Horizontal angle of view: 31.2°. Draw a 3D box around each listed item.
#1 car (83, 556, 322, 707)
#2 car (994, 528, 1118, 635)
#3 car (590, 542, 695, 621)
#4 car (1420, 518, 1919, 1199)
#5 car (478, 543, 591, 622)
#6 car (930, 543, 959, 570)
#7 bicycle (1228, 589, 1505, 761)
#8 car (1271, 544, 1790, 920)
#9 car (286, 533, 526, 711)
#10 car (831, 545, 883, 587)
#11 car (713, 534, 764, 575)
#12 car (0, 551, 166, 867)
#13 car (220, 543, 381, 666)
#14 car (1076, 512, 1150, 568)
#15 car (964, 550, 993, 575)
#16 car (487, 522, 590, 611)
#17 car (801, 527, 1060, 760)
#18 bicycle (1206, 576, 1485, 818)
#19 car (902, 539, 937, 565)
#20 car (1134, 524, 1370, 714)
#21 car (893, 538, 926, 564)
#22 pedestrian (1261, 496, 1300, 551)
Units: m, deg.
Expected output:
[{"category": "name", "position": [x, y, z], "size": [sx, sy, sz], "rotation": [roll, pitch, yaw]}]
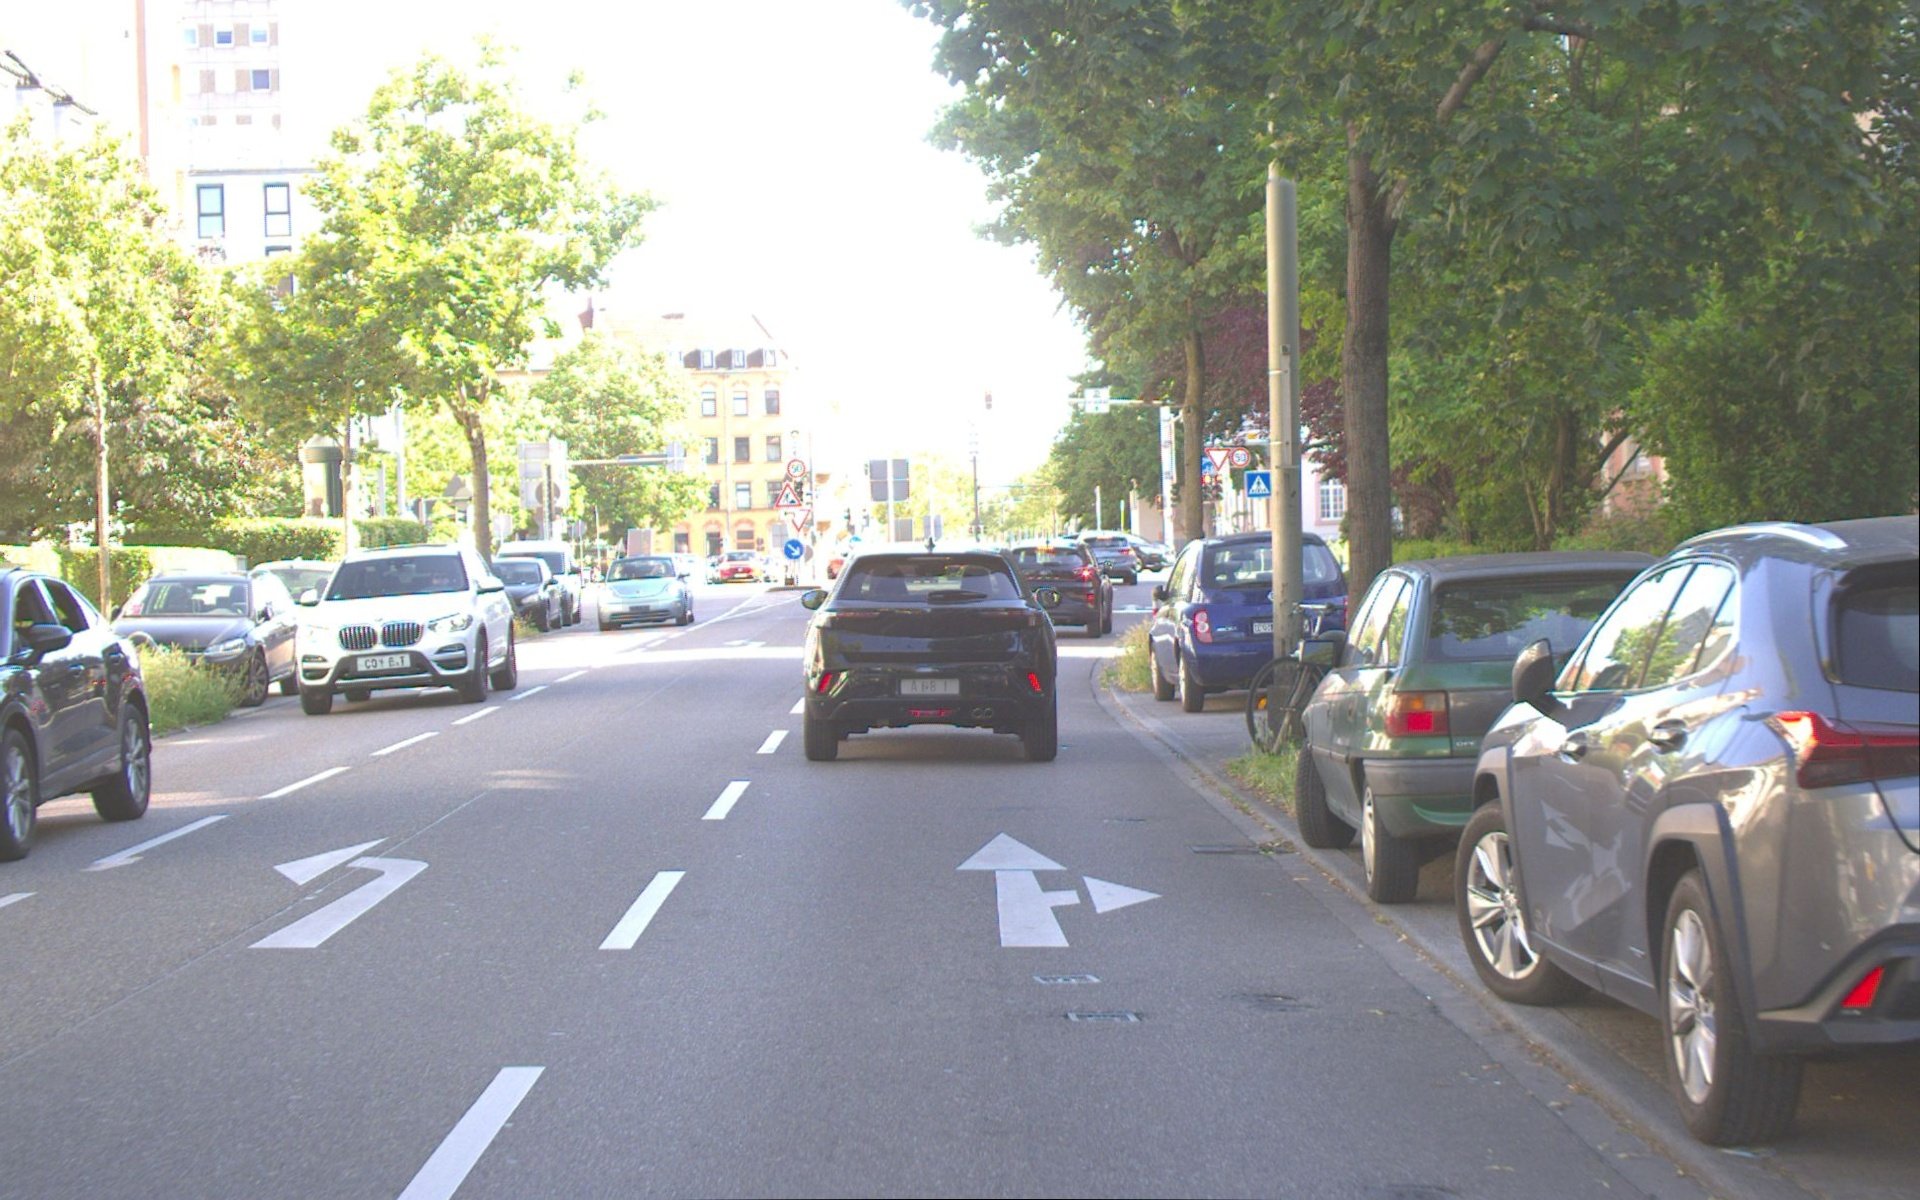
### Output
[{"category": "car", "position": [-8.469, 0.302, 38.786], "size": [1.785, 1.488, 4.494], "rotation": [-2, 2, -2]}, {"category": "car", "position": [1.496, -0.323, 54.908], "size": [1.830, 1.573, 3.839], "rotation": [-2, 1, 0]}, {"category": "car", "position": [-6.220, -0.389, 67.741], "size": [1.737, 1.376, 3.937], "rotation": [-3, 2, -1]}, {"category": "car", "position": [2.518, 0.541, 9.545], "size": [1.714, 1.484, 4.235], "rotation": [-2, 1, -2]}, {"category": "car", "position": [-8.403, -0.362, 68.128], "size": [1.671, 1.451, 4.111], "rotation": [-2, 1, 0]}, {"category": "car", "position": [-1.129, -3.153, 248.698], "size": [1.993, 1.859, 4.000], "rotation": [1, 1, -2]}, {"category": "bicycle", "position": [2.686, 0.495, 22.765], "size": [1.740, 1.018, 0.524], "rotation": [-4, -1, 7]}, {"category": "car", "position": [2.398, 0.482, 15.354], "size": [1.612, 1.378, 3.976], "rotation": [-2, 1, 0]}, {"category": "car", "position": [-5.812, 0.171, 36.581], "size": [1.806, 1.642, 4.673], "rotation": [-4, 1, -1]}, {"category": "car", "position": [-3.835, -1.295, 128.862], "size": [1.771, 1.447, 3.886], "rotation": [-2, 1, 0]}, {"category": "car", "position": [-9.213, -1.912, 143.208], "size": [1.791, 1.611, 4.000], "rotation": [-2, 1, 0]}, {"category": "car", "position": [-5.781, 0.590, 19.044], "size": [1.719, 1.560, 4.343], "rotation": [-4, 1, -1]}, {"category": "car", "position": [-8.670, 0.026, 45.439], "size": [1.675, 1.520, 3.659], "rotation": [0, 2, -4]}, {"category": "car", "position": [4.250, -1.686, 95.784], "size": [1.830, 1.447, 3.988], "rotation": [-2, 1, 0]}, {"category": "car", "position": [1.264, -2.500, 229.258], "size": [1.861, 1.654, 4.000], "rotation": [1, 1, 1]}, {"category": "car", "position": [-9.108, -0.745, 74.628], "size": [1.818, 1.827, 4.563], "rotation": [-1, 1, -2]}, {"category": "car", "position": [-0.224, 0.260, 25.090], "size": [1.745, 1.568, 3.558], "rotation": [0, 1, -1]}, {"category": "bicycle", "position": [2.147, 0.514, 19.015], "size": [1.663, 1.232, 0.471], "rotation": [-3, 2, -39]}, {"category": "car", "position": [-2.458, -2.933, 209.035], "size": [1.993, 1.514, 4.000], "rotation": [1, 1, 1]}, {"category": "car", "position": [2.565, 0.124, 30.918], "size": [1.559, 1.510, 3.655], "rotation": [-4, 1, -2]}, {"category": "car", "position": [-2.873, -2.778, 195.154], "size": [1.810, 1.402, 4.000], "rotation": [-2, 1, -1]}, {"category": "pedestrian", "position": [9.910, -2.368, 106.268], "size": [1.040, 1.654, 0.784], "rotation": [-2, 1, -4]}]
